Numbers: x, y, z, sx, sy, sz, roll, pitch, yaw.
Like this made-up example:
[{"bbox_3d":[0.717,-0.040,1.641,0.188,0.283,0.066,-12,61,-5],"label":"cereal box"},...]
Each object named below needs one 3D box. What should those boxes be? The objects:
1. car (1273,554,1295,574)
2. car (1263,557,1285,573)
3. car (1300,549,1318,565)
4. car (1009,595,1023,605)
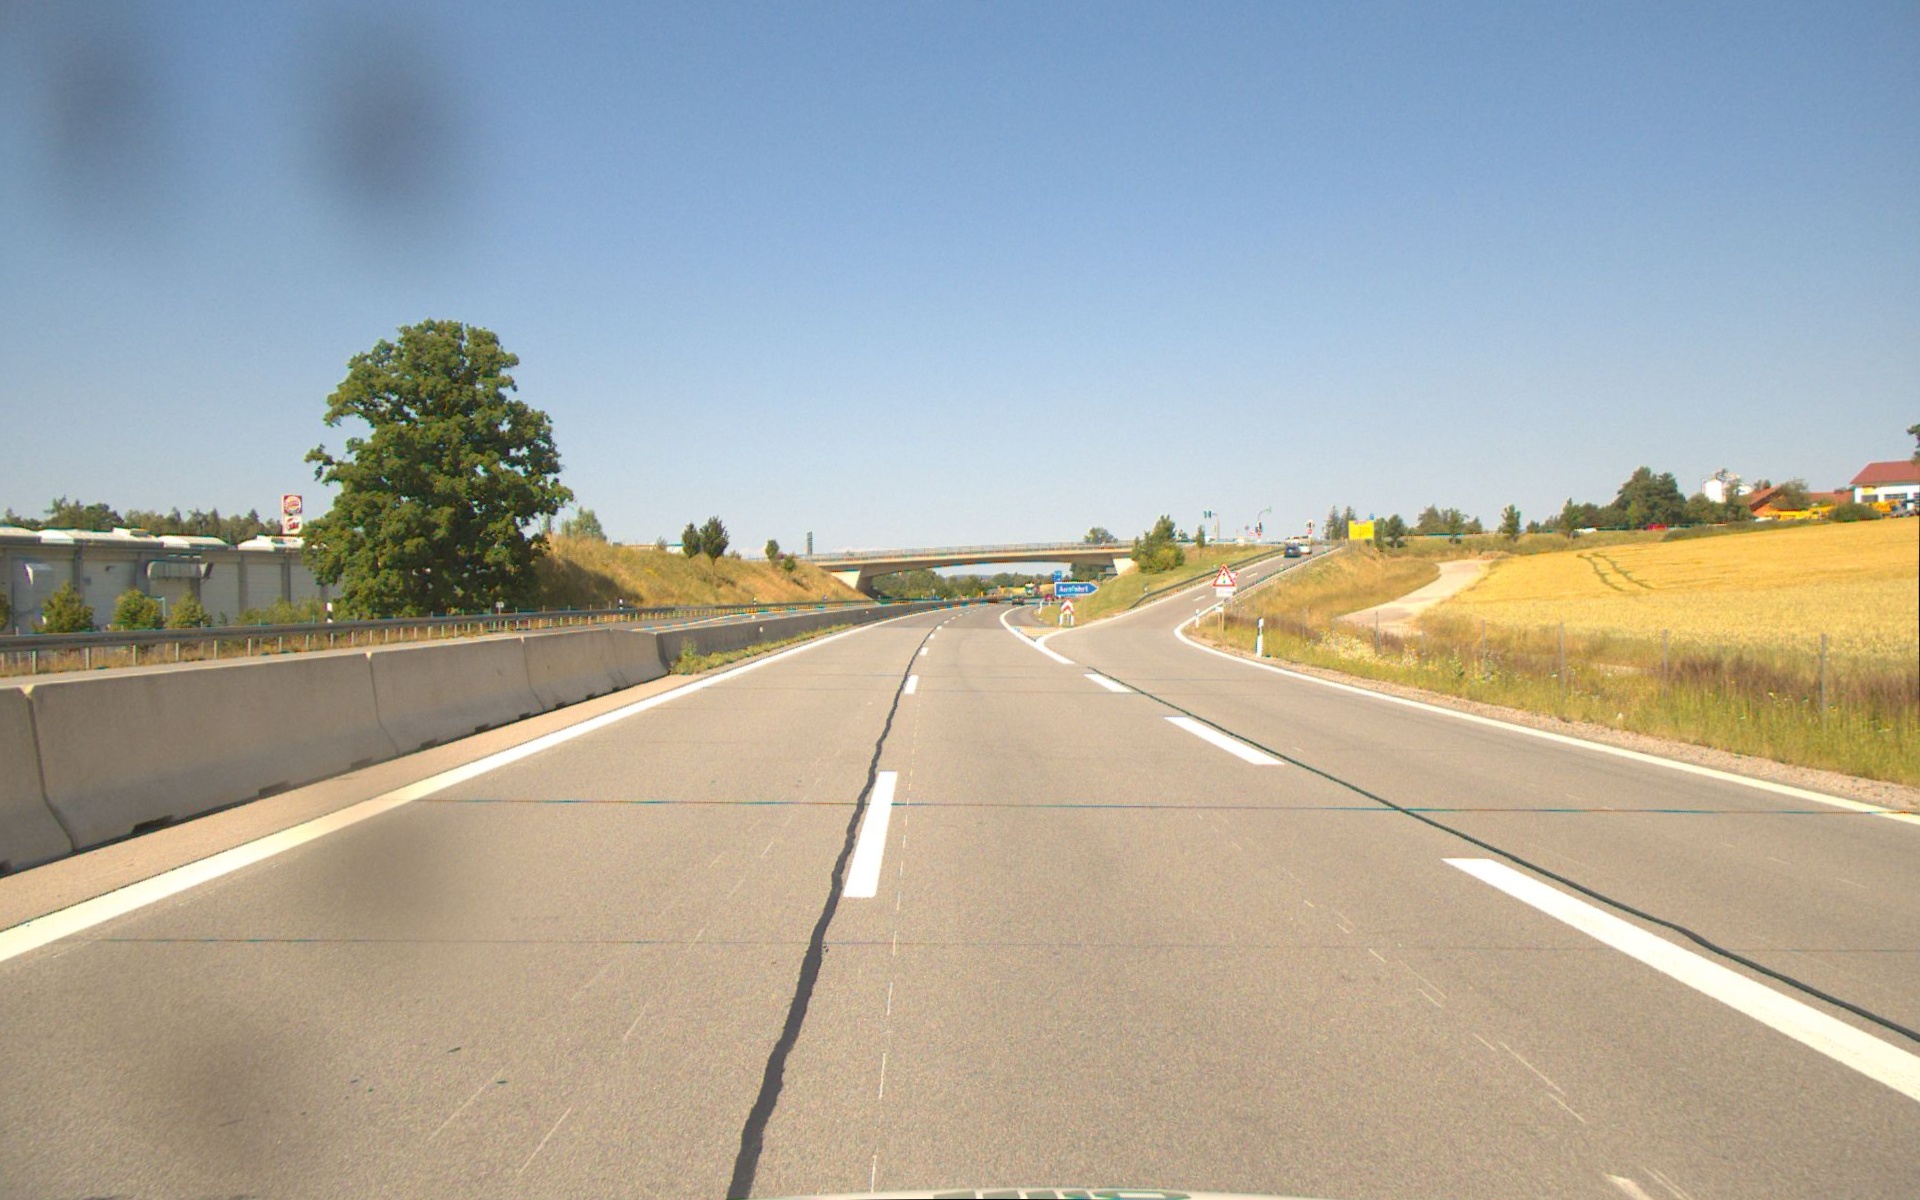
[{"bbox_3d":[35.247,-3.930,179.934,1.951,2.049,4.003,-2,0,16],"label":"car"},{"bbox_3d":[33.980,-3.762,179.033,1.951,1.646,4.003,-2,0,16],"label":"car"},{"bbox_3d":[47.249,-5.775,223.777,1.951,2.049,4.003,-2,0,16],"label":"car"},{"bbox_3d":[8.543,0.069,251.573,1.952,1.445,4.001,-2,0,1],"label":"car"}]
